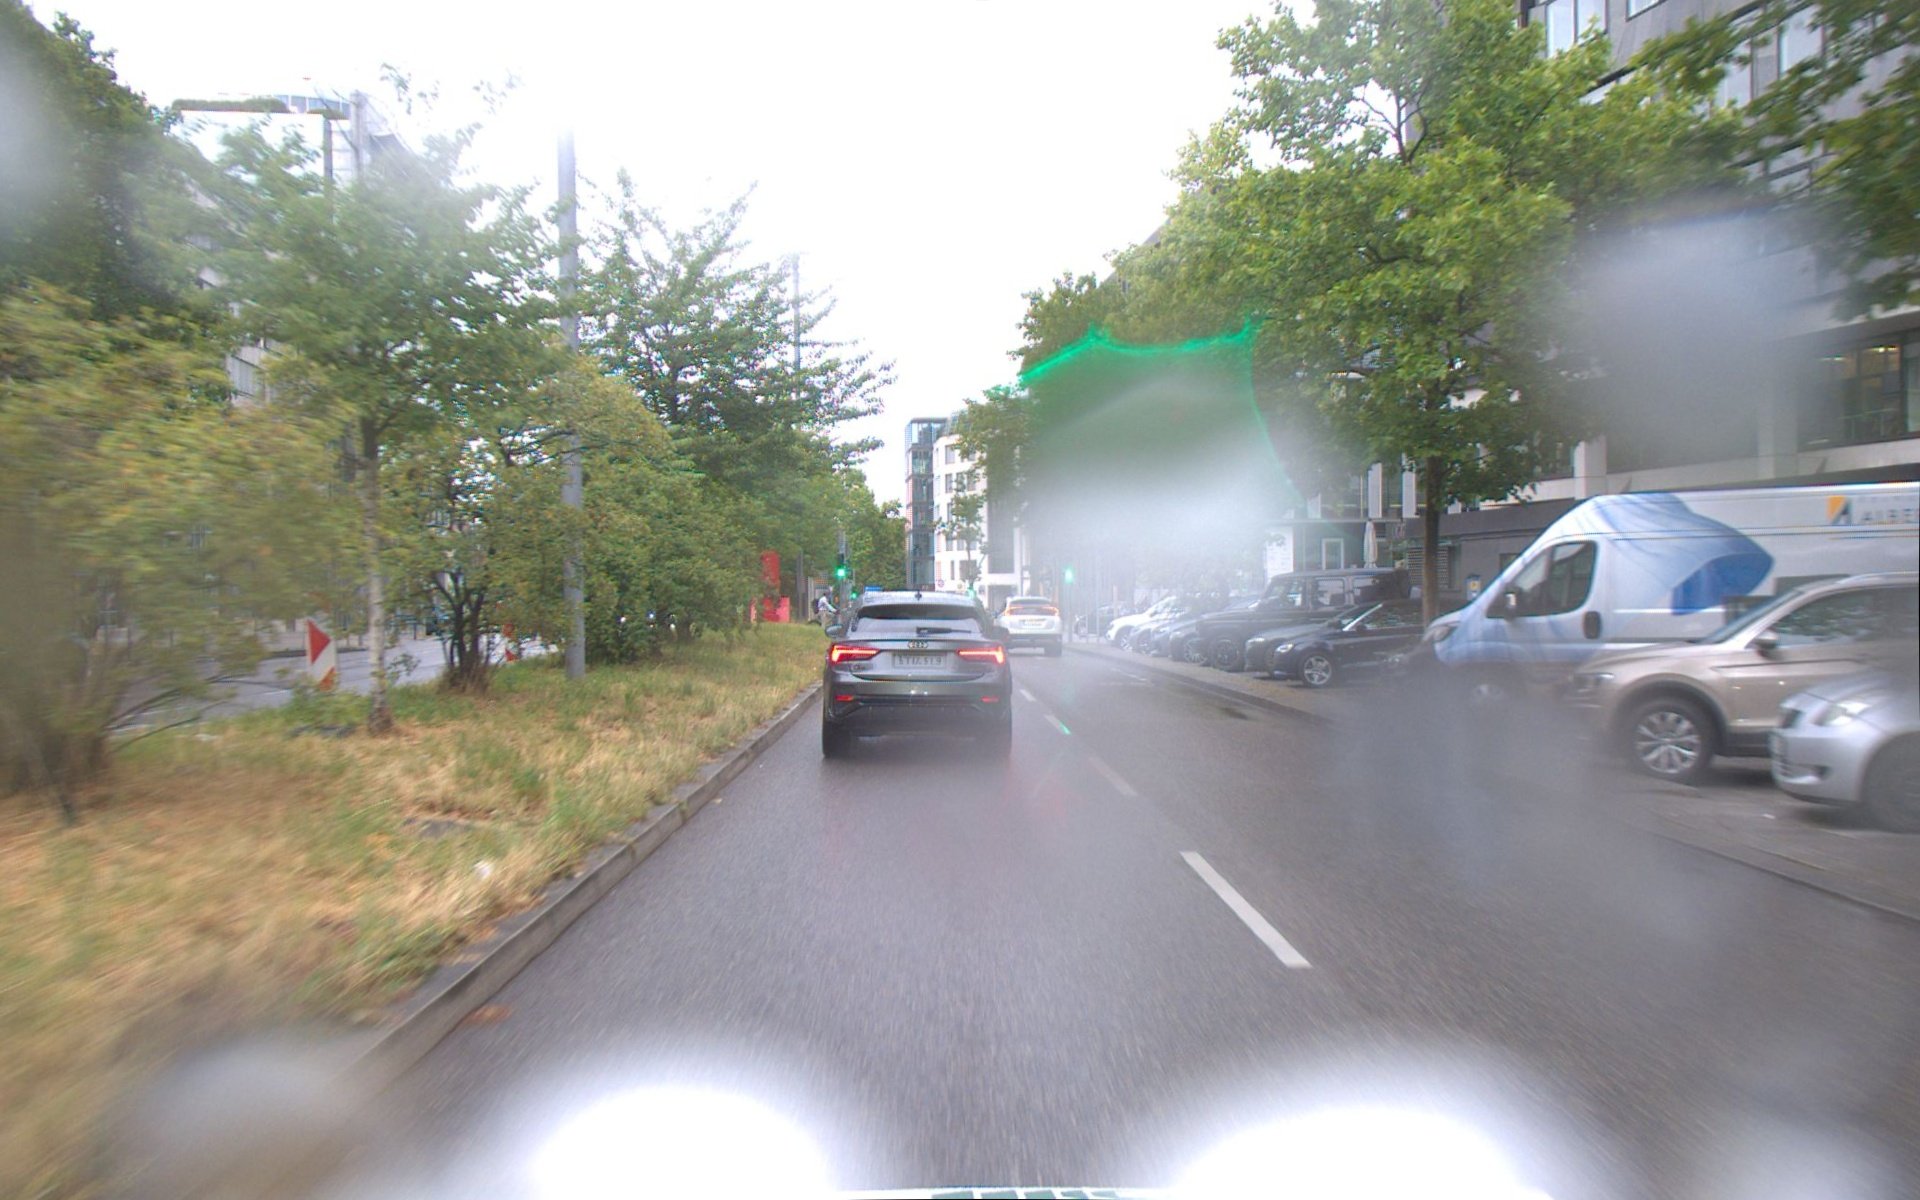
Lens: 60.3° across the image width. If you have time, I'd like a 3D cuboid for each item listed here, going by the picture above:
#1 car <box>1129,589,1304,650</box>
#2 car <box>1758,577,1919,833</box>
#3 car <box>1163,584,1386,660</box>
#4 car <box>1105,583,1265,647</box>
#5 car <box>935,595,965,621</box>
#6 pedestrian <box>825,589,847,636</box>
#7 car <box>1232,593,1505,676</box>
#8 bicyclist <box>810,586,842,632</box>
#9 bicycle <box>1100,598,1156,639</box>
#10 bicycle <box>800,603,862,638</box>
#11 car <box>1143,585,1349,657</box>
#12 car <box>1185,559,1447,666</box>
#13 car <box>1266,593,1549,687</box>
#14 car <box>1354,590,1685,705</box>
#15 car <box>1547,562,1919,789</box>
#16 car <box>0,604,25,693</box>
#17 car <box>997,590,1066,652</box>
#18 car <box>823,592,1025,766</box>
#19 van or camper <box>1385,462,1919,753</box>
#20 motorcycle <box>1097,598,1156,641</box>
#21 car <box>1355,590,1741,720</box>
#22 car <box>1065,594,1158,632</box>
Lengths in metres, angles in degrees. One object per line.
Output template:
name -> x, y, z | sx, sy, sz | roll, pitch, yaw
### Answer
car -> 6.830, 0.524, 44.062 | 4.212, 1.515, 1.840 | -2, 0, 29
car -> 7.221, 0.648, 10.643 | 3.572, 1.574, 1.715 | 0, 0, 19
car -> 6.883, 0.483, 36.208 | 4.462, 1.533, 1.868 | -2, 0, 24
car -> 6.407, 0.419, 47.189 | 4.135, 1.698, 1.837 | -2, 0, 27
car -> -0.605, 0.498, 103.913 | 1.811, 1.550, 4.038 | 0, 0, 0
pedestrian -> -4.891, 0.498, 65.164 | 0.647, 1.825, 0.751 | 0, -1, 12
car -> 7.473, 0.638, 30.318 | 4.534, 1.419, 1.845 | -2, -1, 28
bicyclist -> -4.902, 0.329, 60.577 | 1.082, 1.650, 0.750 | 2, -1, -1
bicycle -> 6.002, 0.672, 59.002 | 1.940, 1.440, 0.726 | 0, -1, 8
bicycle -> -4.716, 0.766, 60.570 | 2.209, 1.182, 0.750 | 2, -1, -1
car -> 6.811, 0.499, 39.291 | 4.673, 1.560, 1.871 | -2, 0, 14
car -> 7.198, 0.262, 33.480 | 4.839, 2.013, 1.928 | -2, 0, 26
car -> 7.404, 0.633, 27.391 | 4.279, 1.461, 1.760 | -1, 0, 26
car -> 7.658, 0.623, 22.666 | 4.117, 1.461, 1.719 | -1, 0, 26
car -> 7.057, 0.562, 13.404 | 4.173, 1.696, 1.816 | 0, 0, 26
car -> -19.024, 0.981, 29.789 | 1.733, 1.681, 4.840 | -3, 0, -3
car -> 2.028, 0.584, 47.674 | 1.811, 1.698, 4.038 | 0, 0, 0
car -> -0.347, 0.698, 16.851 | 1.812, 1.550, 4.038 | 0, 0, -1
van or camper -> 7.477, 0.078, 16.526 | 5.947, 2.603, 2.102 | -1, 0, 27
motorcycle -> 5.747, 0.667, 57.056 | 1.985, 1.440, 0.726 | 0, -1, 8
car -> 7.233, 0.634, 20.382 | 4.301, 1.461, 1.939 | -1, 0, 26
car -> 6.524, 0.547, 71.548 | 3.794, 1.595, 1.658 | 0, -1, 42
